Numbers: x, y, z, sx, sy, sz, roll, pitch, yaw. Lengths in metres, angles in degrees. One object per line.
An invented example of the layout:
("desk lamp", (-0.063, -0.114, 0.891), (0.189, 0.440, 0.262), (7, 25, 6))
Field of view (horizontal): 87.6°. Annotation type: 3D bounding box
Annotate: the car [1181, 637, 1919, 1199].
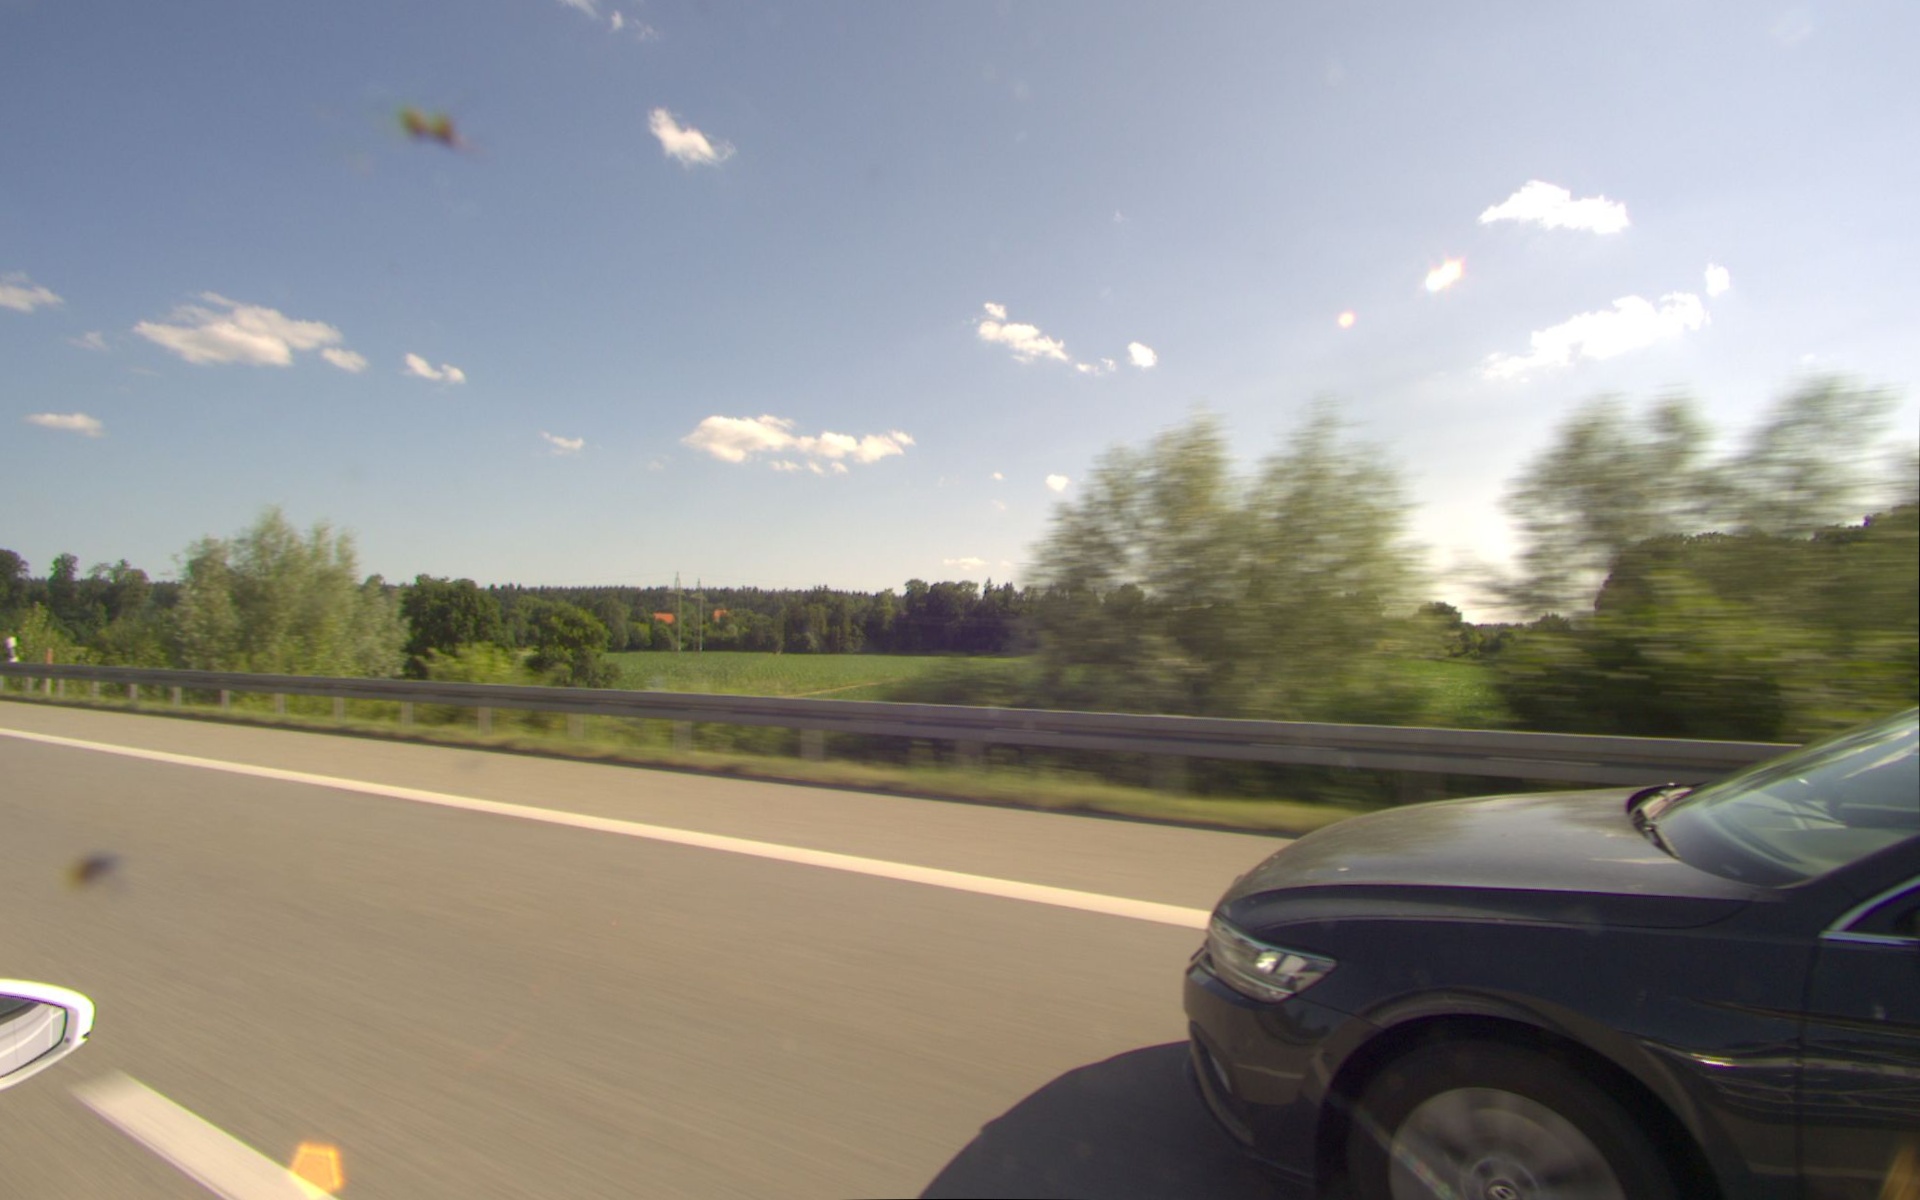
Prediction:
("car", (2.797, 0.784, 1.879), (4.351, 1.417, 1.715), (-1, -2, 33))
